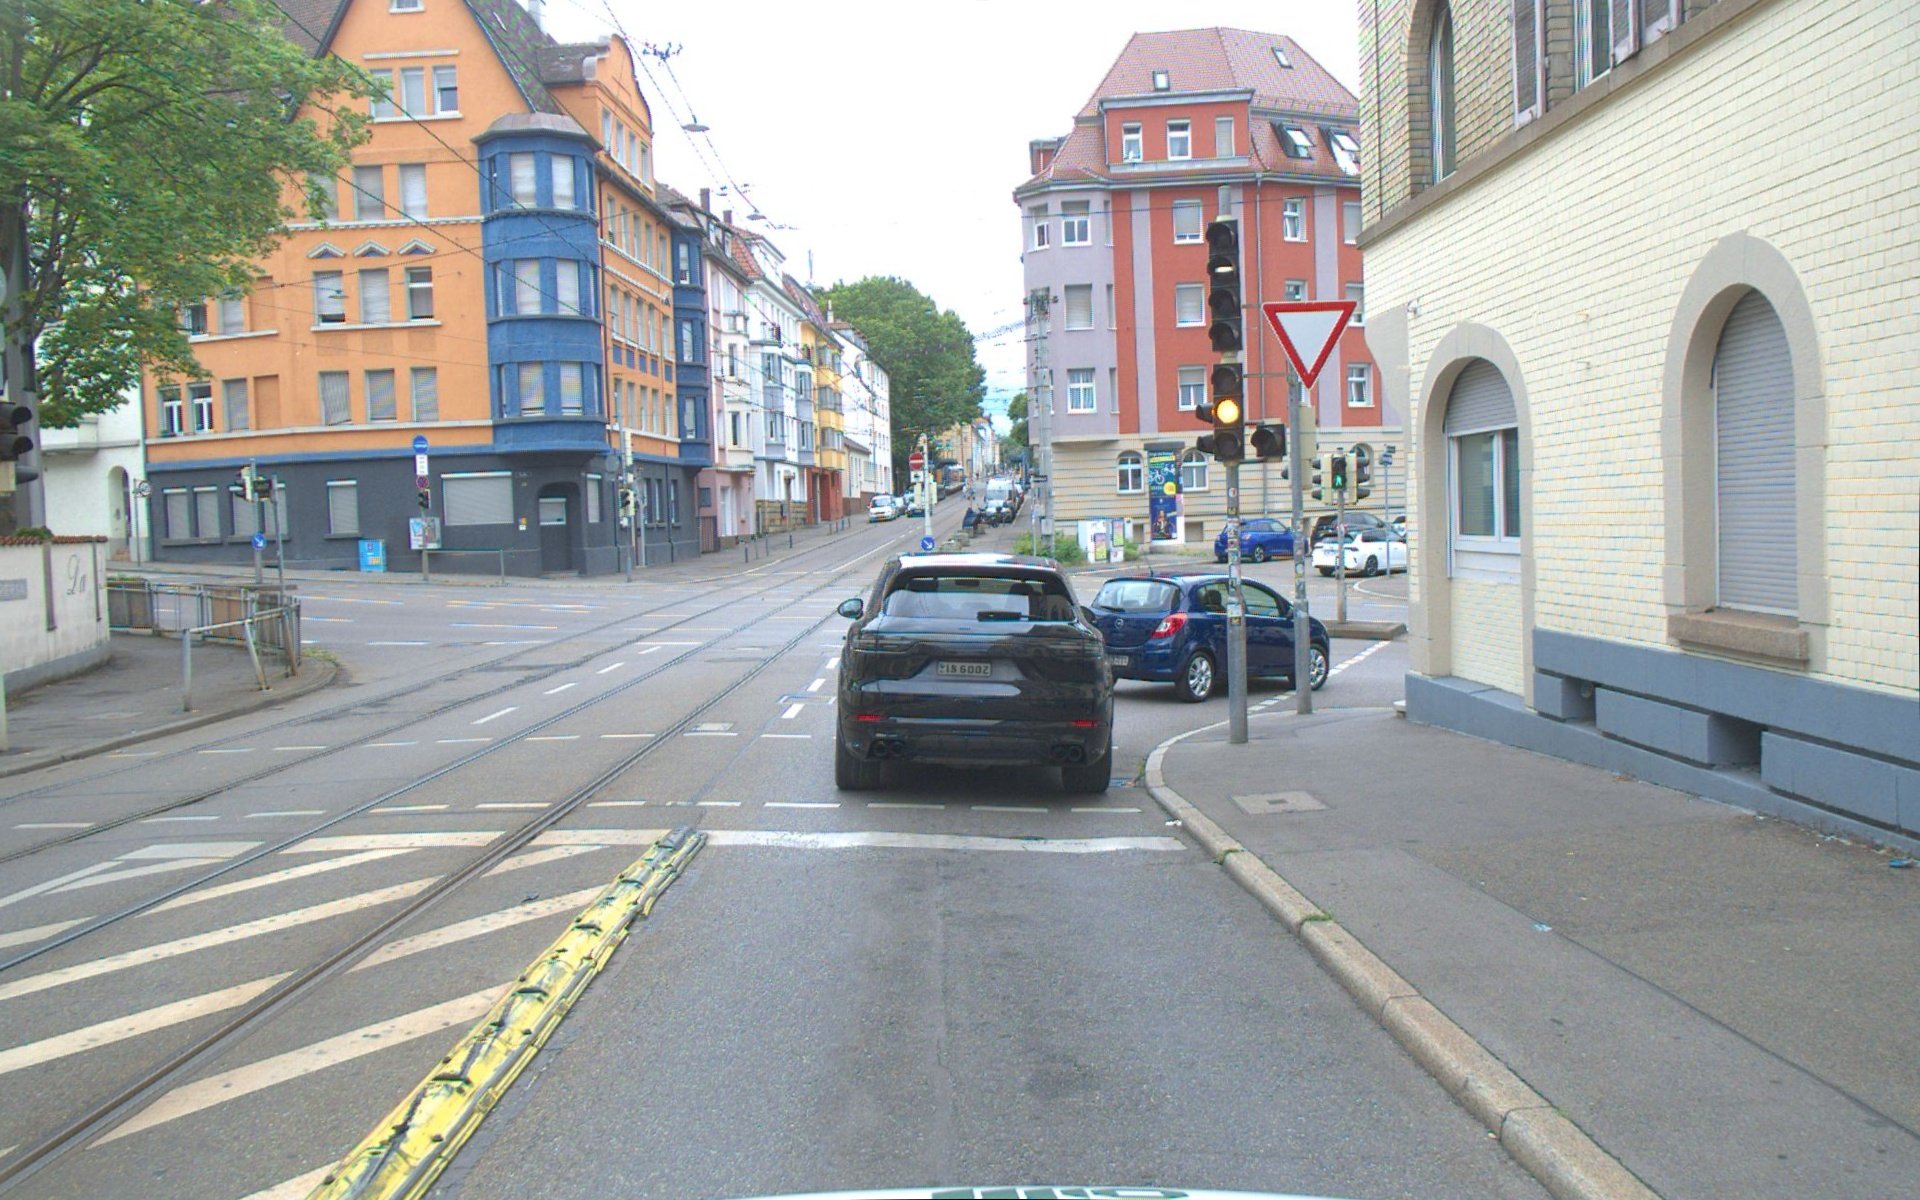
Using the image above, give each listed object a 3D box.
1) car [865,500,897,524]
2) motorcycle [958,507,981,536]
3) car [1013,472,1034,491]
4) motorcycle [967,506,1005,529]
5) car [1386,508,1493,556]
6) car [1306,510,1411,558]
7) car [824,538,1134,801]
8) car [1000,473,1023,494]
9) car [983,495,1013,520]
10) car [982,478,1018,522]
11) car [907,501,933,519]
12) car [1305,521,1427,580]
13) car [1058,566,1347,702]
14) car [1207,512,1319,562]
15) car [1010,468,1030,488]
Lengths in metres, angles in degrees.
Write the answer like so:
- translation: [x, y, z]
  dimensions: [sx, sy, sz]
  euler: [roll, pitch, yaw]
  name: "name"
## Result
- translation: [-5.746, -6.444, 120.715]
  dimensions: [1.952, 1.721, 4.004]
  euler: [0, 4, 4]
  name: "car"
- translation: [0.491, -4.035, 85.095]
  dimensions: [0.843, 1.348, 2.182]
  euler: [-7, 4, -5]
  name: "motorcycle"
- translation: [7.302, -13.558, 189.434]
  dimensions: [2.219, 2.221, 4.773]
  euler: [0, 4, 4]
  name: "car"
- translation: [1.478, -4.764, 95.624]
  dimensions: [2.135, 1.349, 0.699]
  euler: [0, 3, -7]
  name: "motorcycle"
- translation: [19.155, -2.739, 66.050]
  dimensions: [4.088, 1.660, 1.899]
  euler: [-4, 6, -32]
  name: "car"
- translation: [15.154, -2.536, 62.803]
  dimensions: [4.107, 1.561, 1.890]
  euler: [-6, 7, -41]
  name: "car"
- translation: [0.164, 0.369, 12.892]
  dimensions: [1.982, 1.670, 4.357]
  euler: [1, 2, 1]
  name: "car"
- translation: [5.473, -12.334, 175.444]
  dimensions: [2.219, 2.221, 4.773]
  euler: [0, 4, 4]
  name: "car"
- translation: [2.544, -6.080, 108.845]
  dimensions: [1.801, 1.595, 3.823]
  euler: [0, 4, 4]
  name: "car"
- translation: [2.796, -6.929, 114.352]
  dimensions: [2.219, 2.939, 4.773]
  euler: [0, 3, 4]
  name: "car"
- translation: [-2.995, -6.854, 125.456]
  dimensions: [1.650, 1.349, 3.665]
  euler: [0, 4, 4]
  name: "car"
- translation: [12.703, -1.571, 51.663]
  dimensions: [1.887, 1.561, 4.114]
  euler: [4, 7, 44]
  name: "car"
- translation: [3.108, 0.362, 20.770]
  dimensions: [1.731, 1.472, 3.727]
  euler: [5, 4, 43]
  name: "car"
- translation: [10.879, -2.292, 59.237]
  dimensions: [4.108, 1.561, 1.889]
  euler: [-6, 7, -42]
  name: "car"
- translation: [7.157, -14.411, 195.740]
  dimensions: [2.219, 2.221, 4.773]
  euler: [0, 4, 4]
  name: "car"
